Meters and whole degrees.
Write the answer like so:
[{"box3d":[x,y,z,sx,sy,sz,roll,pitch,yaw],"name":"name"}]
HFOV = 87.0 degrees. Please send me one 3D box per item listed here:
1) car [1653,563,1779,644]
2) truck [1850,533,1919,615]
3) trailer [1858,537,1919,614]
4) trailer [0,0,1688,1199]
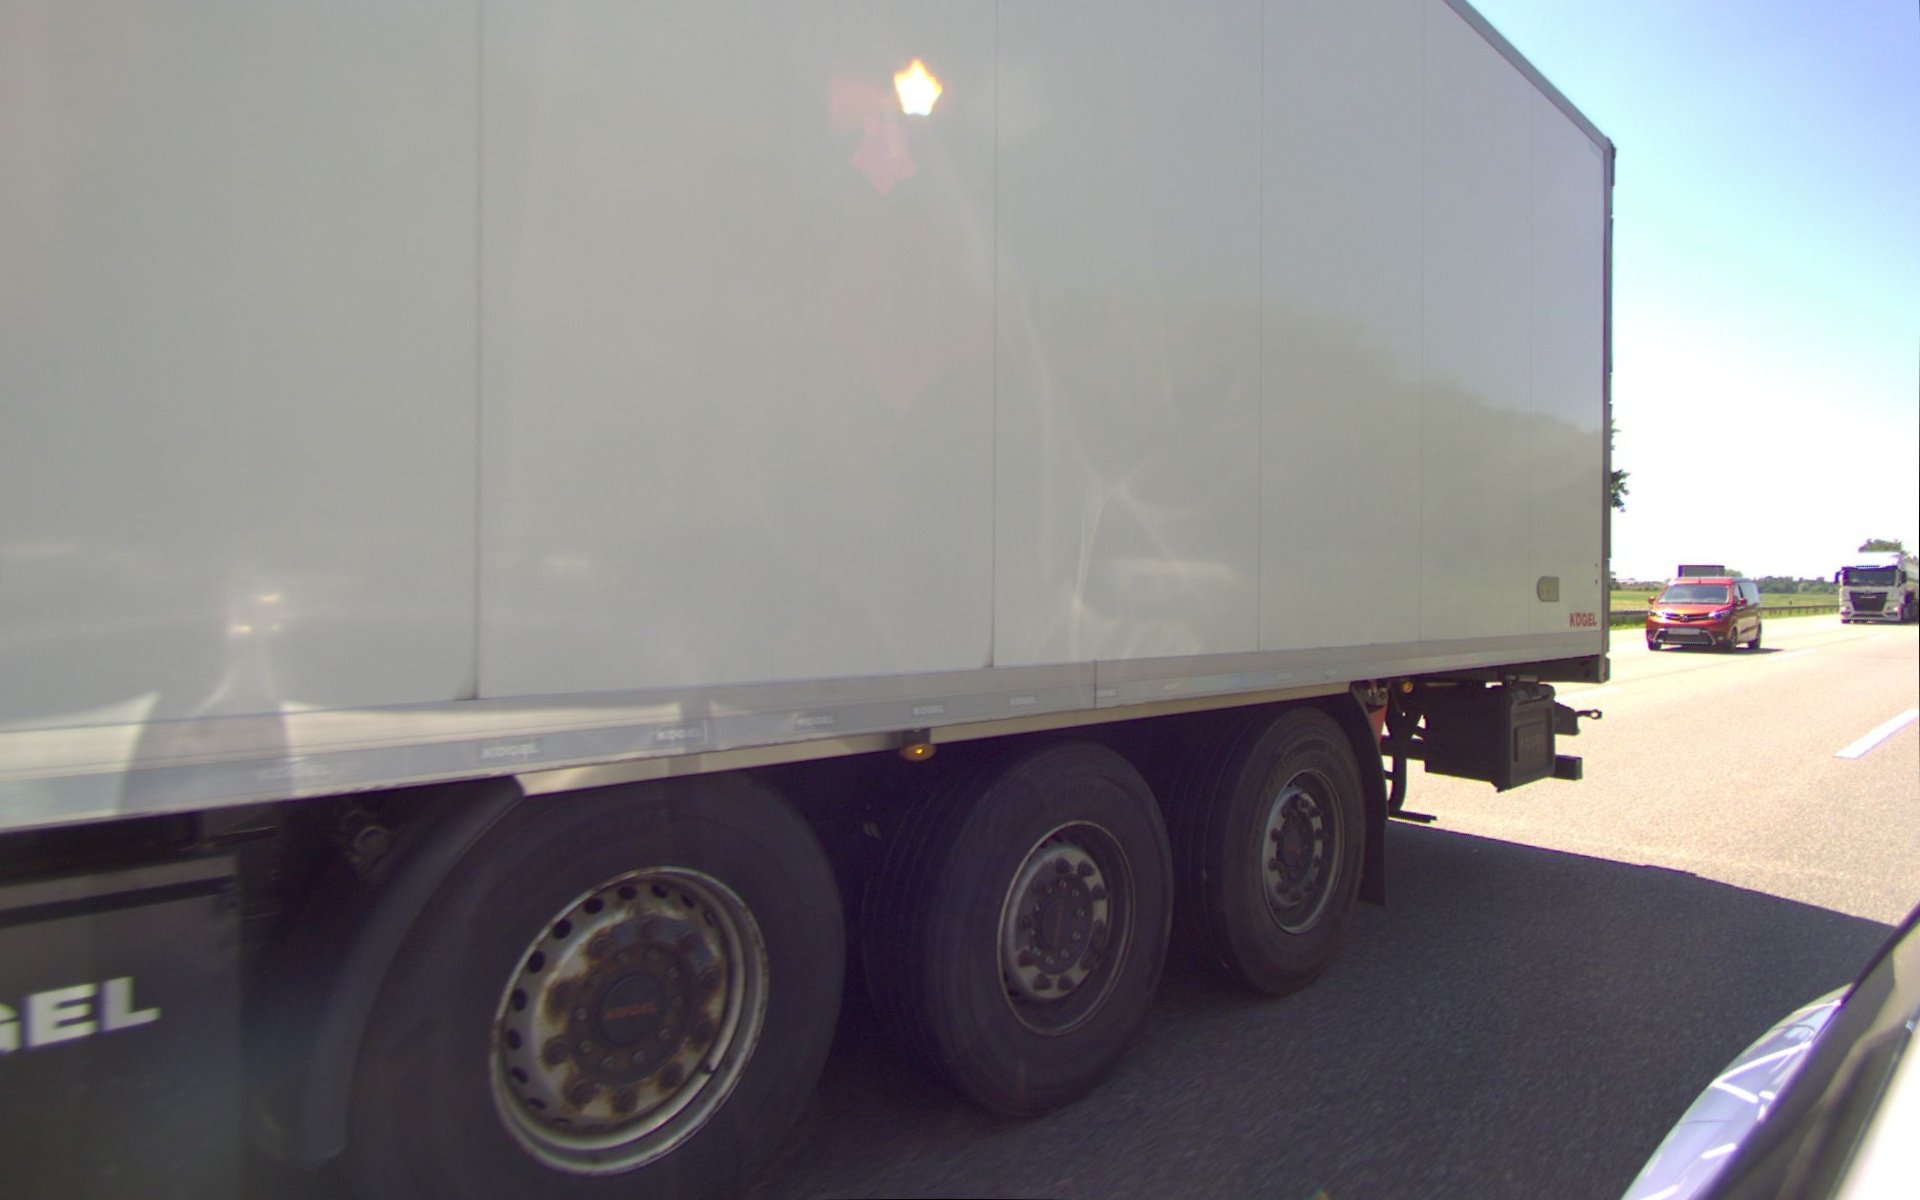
[{"box3d":[20.844,0.065,27.797,5.429,2.028,1.858,-1,0,-43],"name":"car"},{"box3d":[50.915,-1.390,55.419,4.917,4.257,2.793,0,1,-44],"name":"truck"},{"box3d":[56.218,-1.409,60.519,12.148,4.257,2.793,0,1,-44],"name":"trailer"},{"box3d":[-1.572,-0.729,2.868,12.136,4.195,3.229,0,1,-41],"name":"trailer"}]
